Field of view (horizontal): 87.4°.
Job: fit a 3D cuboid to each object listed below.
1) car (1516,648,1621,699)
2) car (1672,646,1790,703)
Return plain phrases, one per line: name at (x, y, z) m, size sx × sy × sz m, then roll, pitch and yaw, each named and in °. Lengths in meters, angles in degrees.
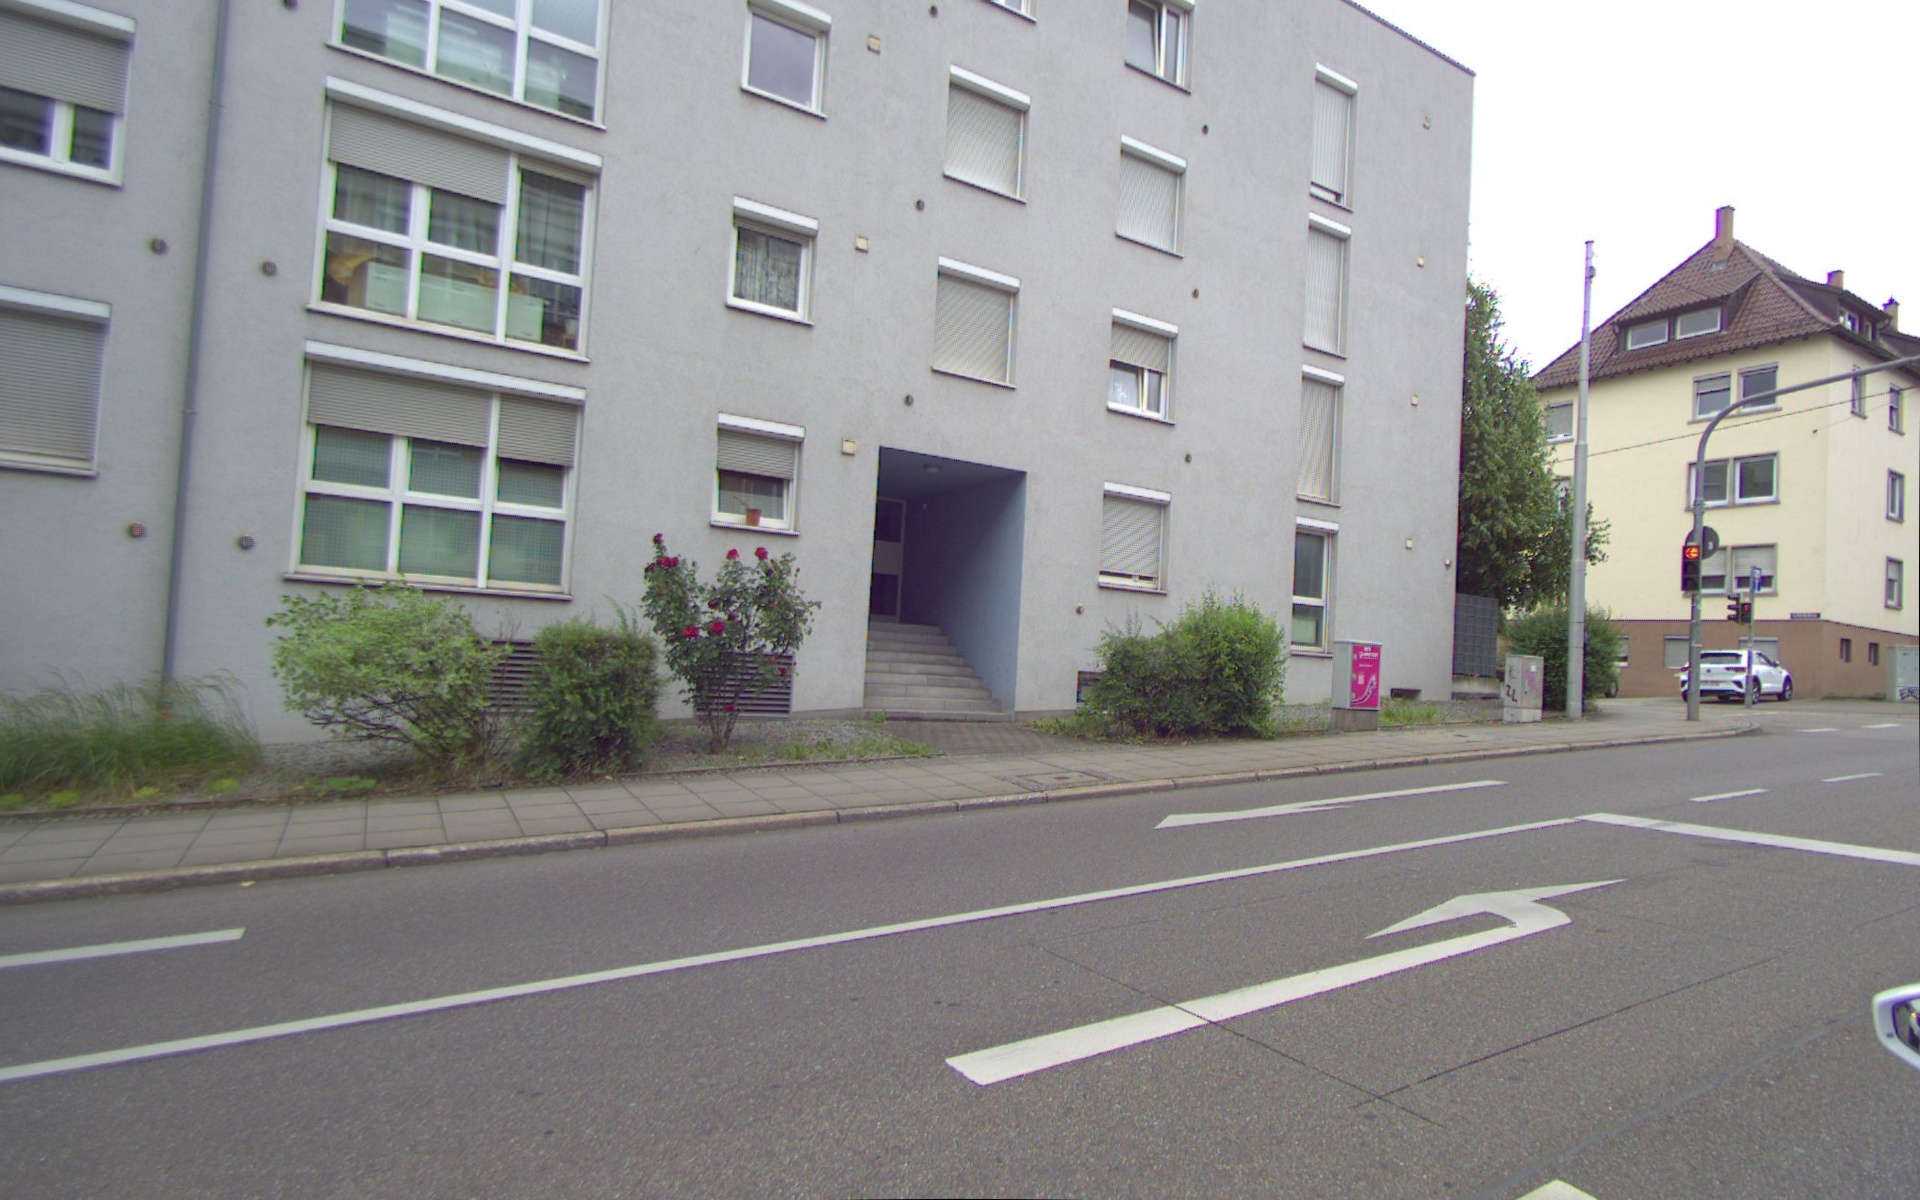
car at (20.933, 2.485, 34.534) m, size 3.727 × 1.629 × 1.681 m, roll 1°, pitch -4°, yaw -34°
car at (23.045, 2.198, 29.999) m, size 3.727 × 1.575 × 1.681 m, roll 1°, pitch -4°, yaw -34°
